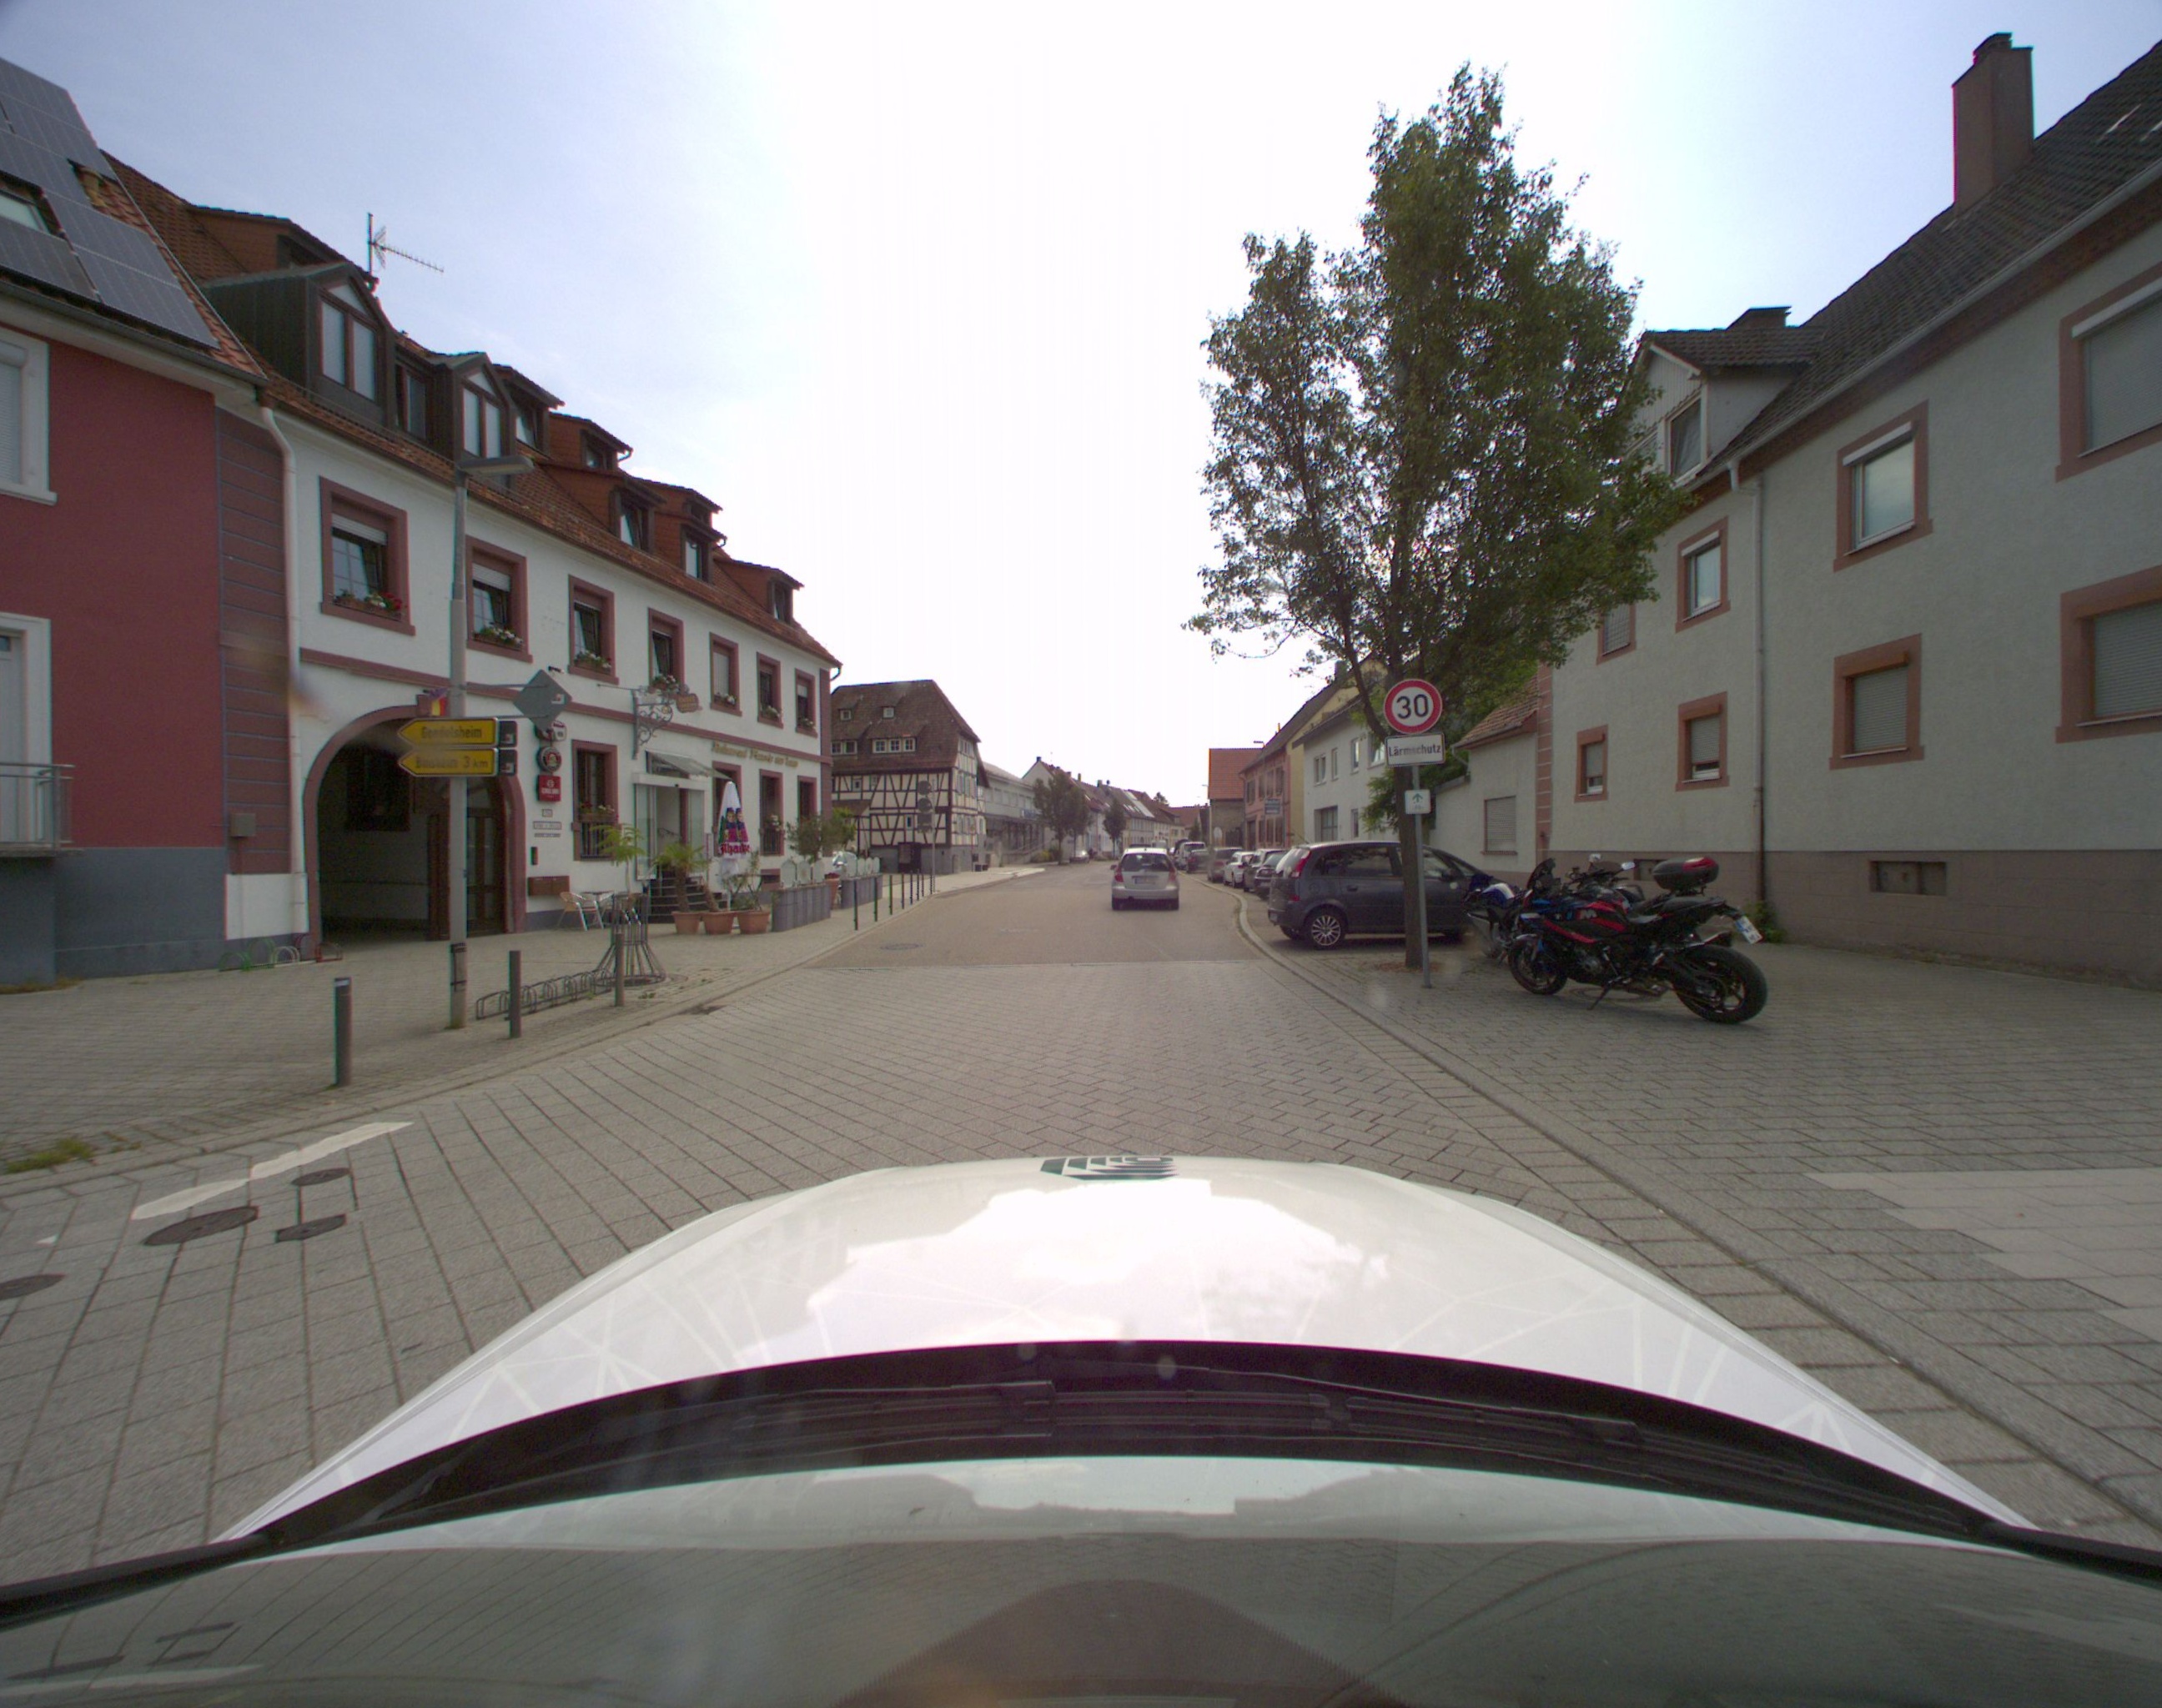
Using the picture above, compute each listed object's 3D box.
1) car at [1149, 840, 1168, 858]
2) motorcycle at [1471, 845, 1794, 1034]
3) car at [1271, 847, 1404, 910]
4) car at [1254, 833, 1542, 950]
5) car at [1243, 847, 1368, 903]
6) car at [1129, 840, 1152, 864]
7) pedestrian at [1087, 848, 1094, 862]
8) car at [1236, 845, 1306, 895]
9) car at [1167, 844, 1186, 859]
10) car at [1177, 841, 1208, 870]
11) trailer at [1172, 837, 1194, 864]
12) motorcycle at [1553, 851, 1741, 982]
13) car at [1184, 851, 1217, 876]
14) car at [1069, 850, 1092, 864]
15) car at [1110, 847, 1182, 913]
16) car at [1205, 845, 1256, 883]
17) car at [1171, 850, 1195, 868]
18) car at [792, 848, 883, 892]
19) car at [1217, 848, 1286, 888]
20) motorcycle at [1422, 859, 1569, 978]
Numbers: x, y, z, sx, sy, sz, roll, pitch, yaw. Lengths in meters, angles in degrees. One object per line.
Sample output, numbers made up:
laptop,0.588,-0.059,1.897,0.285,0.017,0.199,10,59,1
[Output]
car,9.877,-0.592,103.877,2.224,2.222,4.008,-2,-1,7
motorcycle,4.744,0.643,7.157,0.877,1.394,2.198,-1,0,-43
car,6.735,0.593,21.468,2.788,1.504,1.866,-1,0,-19
car,4.878,0.548,12.957,3.835,1.577,1.851,-2,0,0
car,6.741,0.590,24.485,3.242,1.504,1.812,-1,0,-25
car,5.024,-0.143,68.686,1.760,1.887,4.454,2,0,6
pedestrian,1.203,0.097,102.670,0.735,1.801,0.643,-2,-1,6
car,6.580,0.504,28.574,1.655,1.624,4.276,-1,0,3
car,10.992,-0.278,94.187,1.985,1.559,4.005,-2,0,4
car,8.196,0.100,60.220,1.883,1.982,4.937,-3,0,5
trailer,9.373,-0.334,75.072,1.837,2.354,3.593,-1,0,4
motorcycle,6.391,0.642,9.391,0.953,1.298,2.233,-3,0,12
car,7.639,0.564,52.368,1.766,1.495,4.167,-1,0,5
car,-0.015,0.313,88.395,1.793,1.460,4.170,0,0,10
car,1.784,0.649,22.491,1.761,1.594,4.005,-2,0,4
car,7.113,0.427,39.073,1.984,1.680,4.329,-1,0,5
car,8.739,0.396,70.081,1.866,1.481,4.681,0,0,5
car,-9.424,0.563,31.904,1.749,1.492,4.284,3,1,7
car,7.040,0.538,33.997,1.987,1.517,4.372,-1,0,0
motorcycle,5.052,0.717,10.119,0.627,1.298,2.181,-2,0,-2
